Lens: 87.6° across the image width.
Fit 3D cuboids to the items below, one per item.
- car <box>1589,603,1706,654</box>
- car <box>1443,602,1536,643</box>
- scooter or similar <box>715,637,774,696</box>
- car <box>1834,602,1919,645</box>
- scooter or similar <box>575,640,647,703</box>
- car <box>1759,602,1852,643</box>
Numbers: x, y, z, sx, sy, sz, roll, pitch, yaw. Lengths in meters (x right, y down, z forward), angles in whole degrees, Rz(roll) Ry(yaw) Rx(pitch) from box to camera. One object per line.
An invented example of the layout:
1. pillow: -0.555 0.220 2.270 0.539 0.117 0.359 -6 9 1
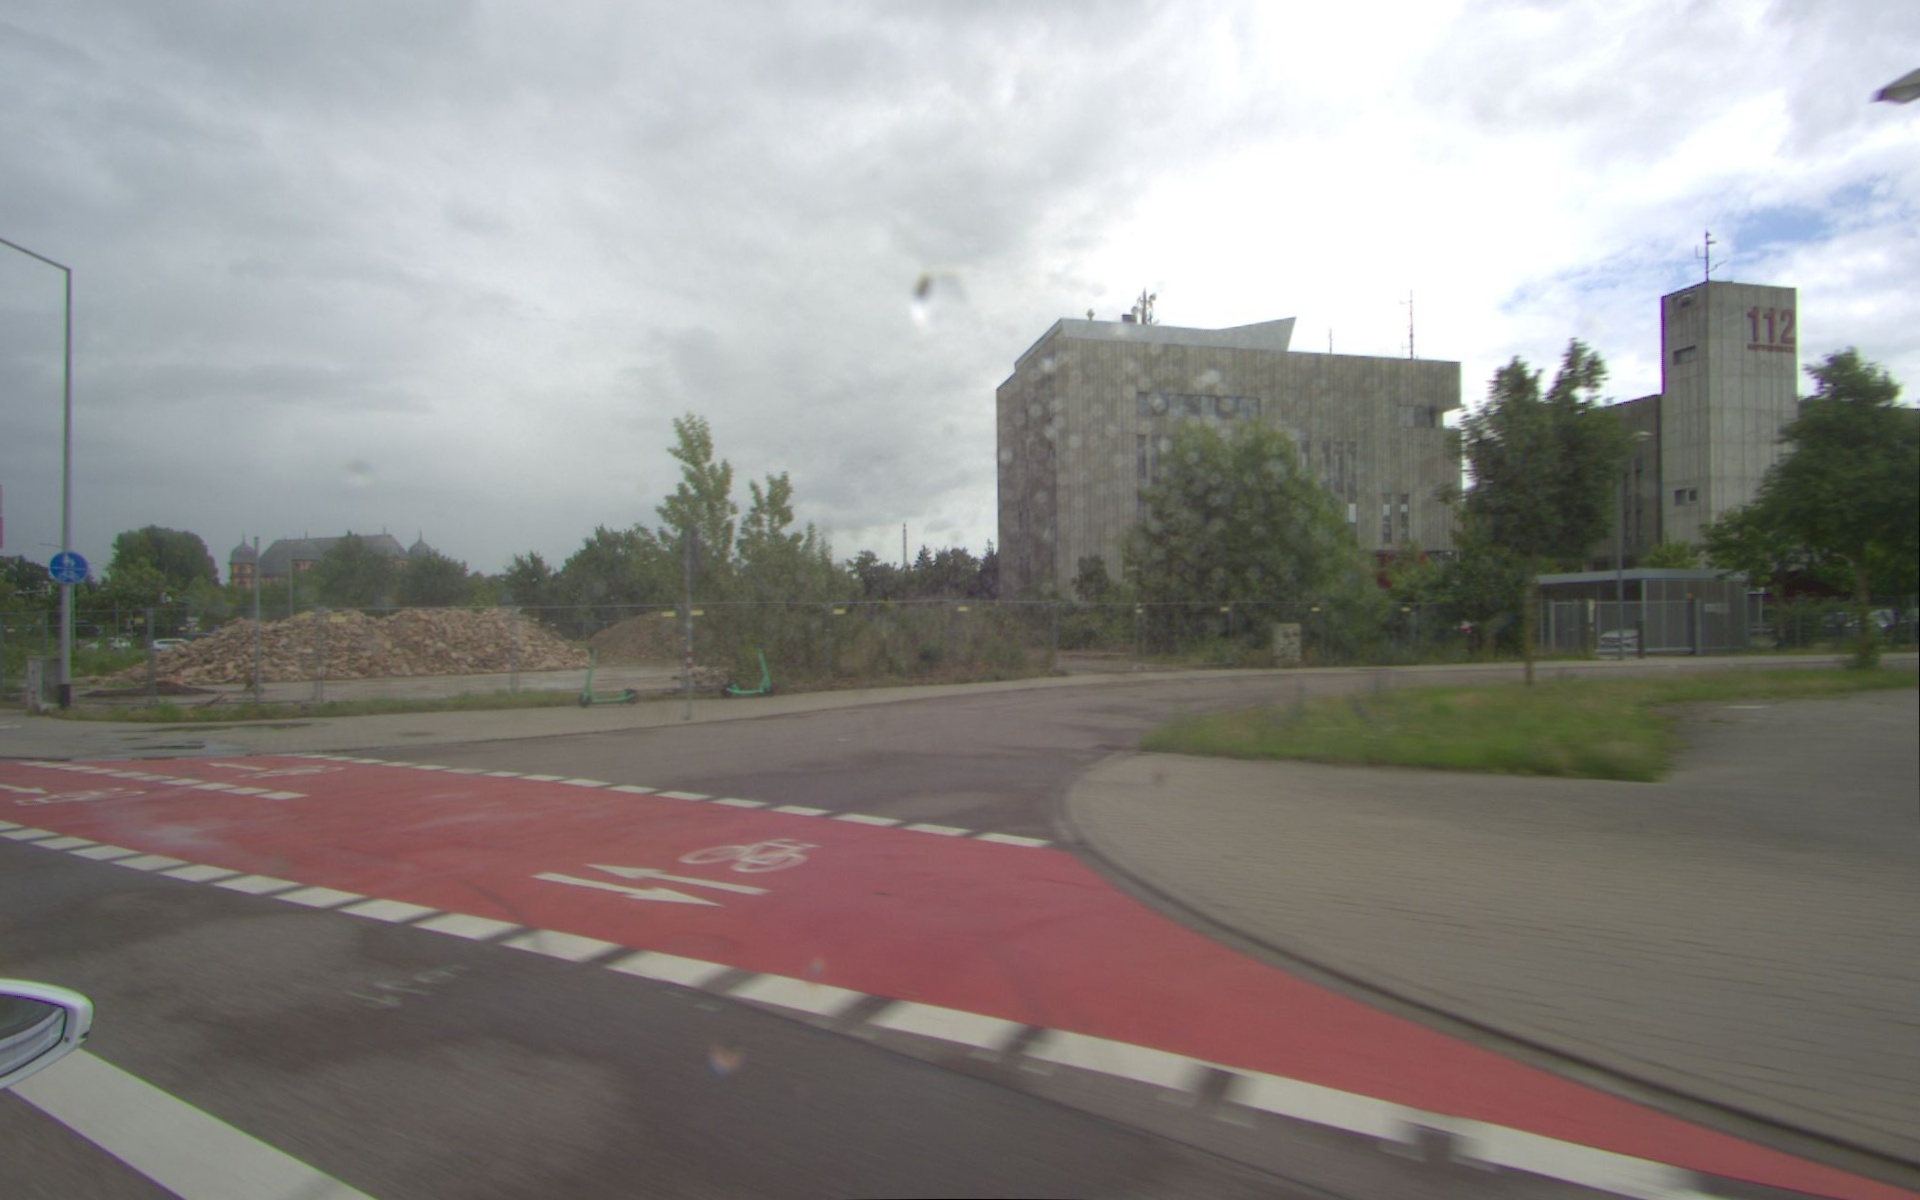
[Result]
1. car: 29.285 1.191 42.695 3.927 2.040 1.998 0 -1 -14
2. car: 27.385 1.152 51.851 3.926 2.040 1.998 -1 -1 -13
3. scooter or similar: -4.607 1.404 21.421 1.157 1.201 0.443 0 -1 -31
4. car: 45.239 1.130 49.074 3.931 2.040 1.995 0 -1 -20
5. scooter or similar: -6.932 1.411 19.926 1.303 1.201 0.445 0 0 -15
6. car: 43.865 1.165 51.970 3.931 2.040 1.995 0 -1 -20
